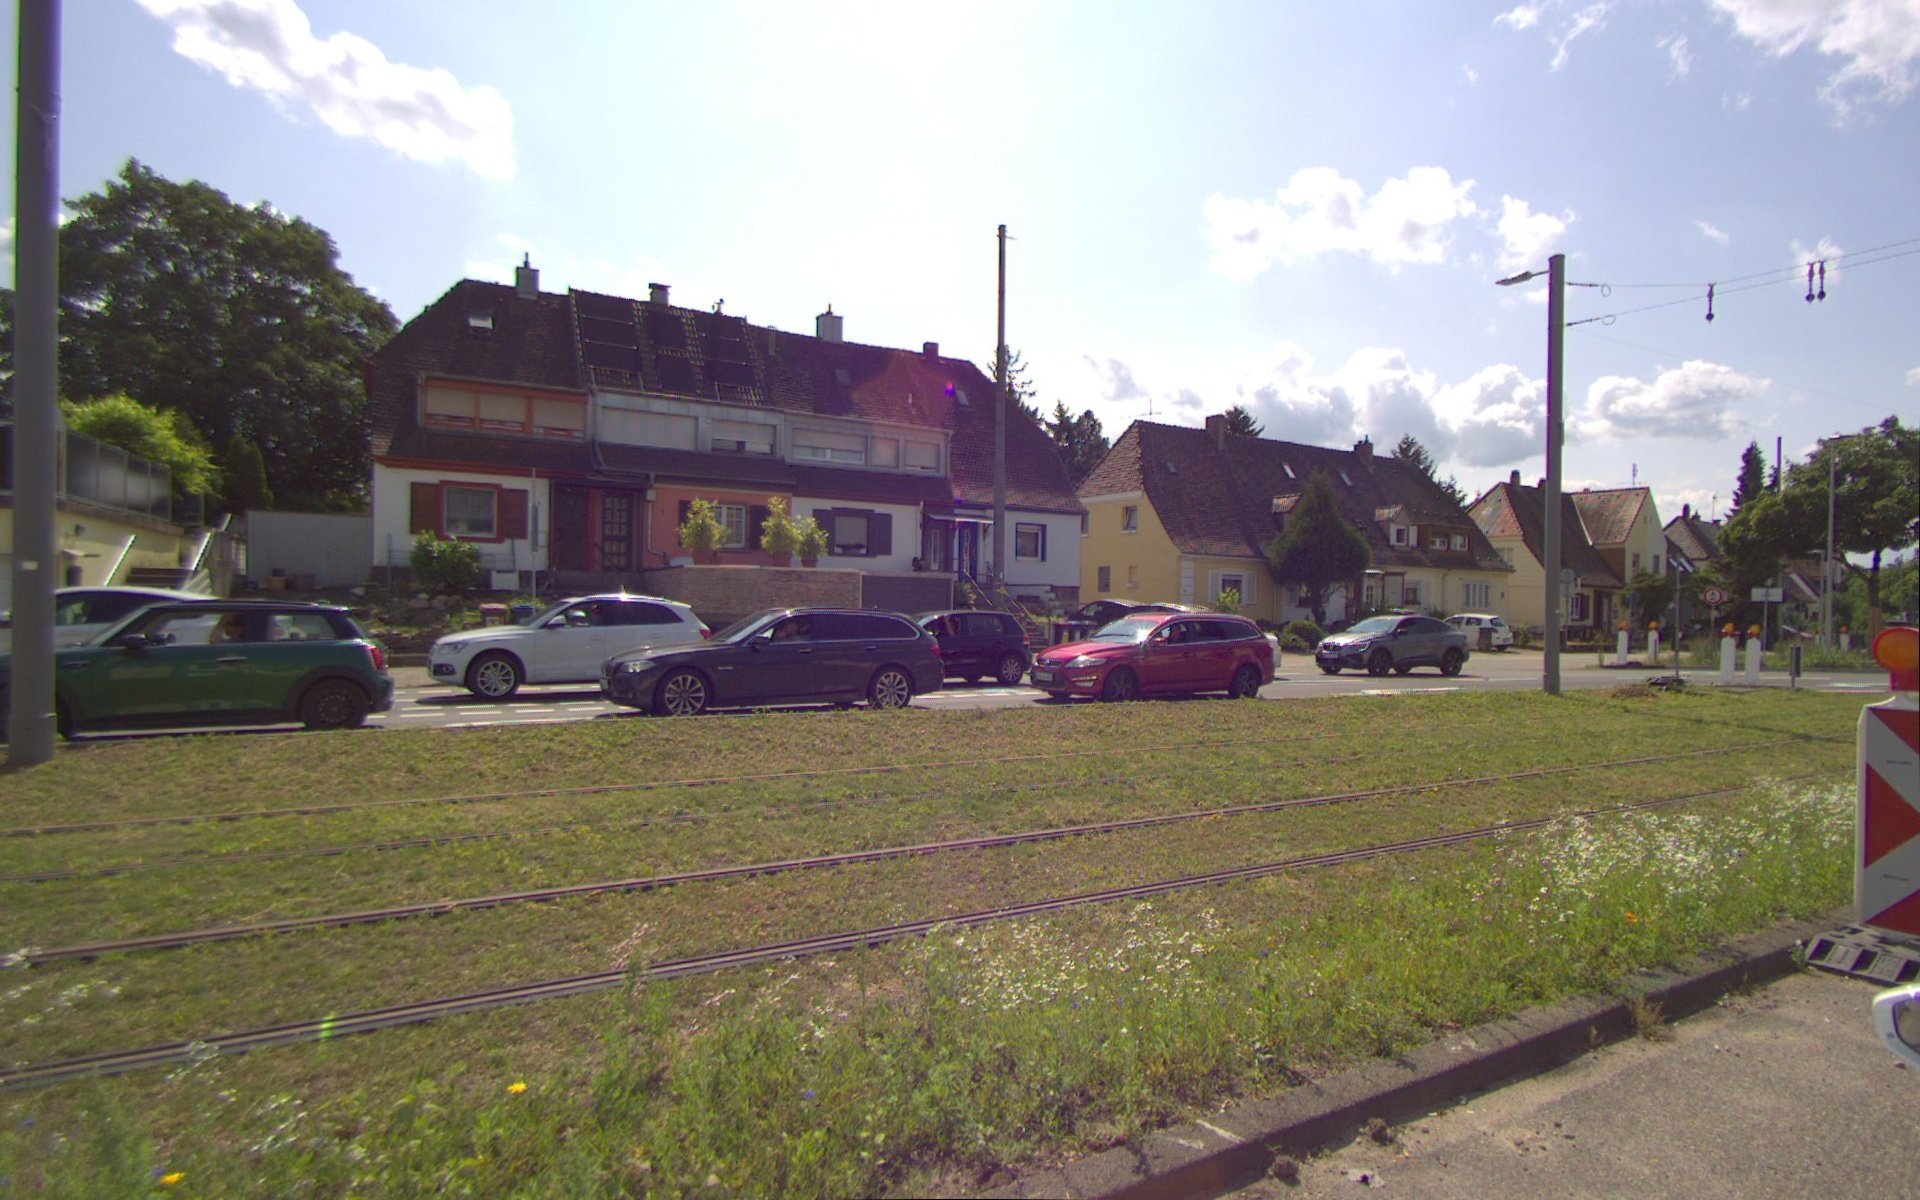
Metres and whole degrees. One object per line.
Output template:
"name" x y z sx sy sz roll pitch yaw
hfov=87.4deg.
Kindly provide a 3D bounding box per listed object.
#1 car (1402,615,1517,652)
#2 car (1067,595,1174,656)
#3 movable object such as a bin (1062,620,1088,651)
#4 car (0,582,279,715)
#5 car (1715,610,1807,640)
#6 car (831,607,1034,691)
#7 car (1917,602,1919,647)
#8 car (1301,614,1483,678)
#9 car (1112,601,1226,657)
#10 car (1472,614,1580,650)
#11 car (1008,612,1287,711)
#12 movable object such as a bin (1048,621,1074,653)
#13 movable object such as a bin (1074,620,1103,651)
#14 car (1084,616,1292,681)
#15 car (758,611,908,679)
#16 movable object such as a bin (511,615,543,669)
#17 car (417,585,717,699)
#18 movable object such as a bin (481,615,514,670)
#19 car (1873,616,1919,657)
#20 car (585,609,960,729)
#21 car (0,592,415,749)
"car" 21.751 1.420 43.895 1.968 1.486 4.087 1 -1 -30
"car" 5.251 0.809 33.256 1.587 1.616 3.365 1 5 -32
"movable object such as a bin" 3.597 1.112 31.446 0.511 0.946 0.677 1 0 -32
"car" -12.115 0.627 13.811 4.385 1.682 1.834 1 -1 -30
"car" 49.985 1.535 62.738 2.079 1.800 4.082 1 -1 -34
"car" -0.534 0.930 19.970 3.613 1.513 1.834 1 -1 -31
"car" 53.387 1.358 54.029 4.842 2.369 2.385 1 -1 -42
"car" 11.496 1.190 26.683 4.675 1.555 1.837 1 -1 -26
"car" 7.314 0.984 35.469 1.587 1.512 3.929 1 5 -32
"car" 25.755 1.433 45.806 1.685 1.417 3.967 0 1 -31
"car" 3.331 1.009 17.525 4.801 1.513 1.834 1 -1 -31
"movable object such as a bin" 3.129 1.140 31.156 0.511 0.946 0.677 1 0 -32
"movable object such as a bin" 4.075 1.126 31.789 0.600 0.946 0.690 1 0 -33
"car" 5.327 1.088 23.273 4.721 1.361 1.835 1 -1 -30
"car" -2.887 1.007 22.906 3.052 1.438 1.558 1 -1 -31
"movable object such as a bin" -9.759 0.941 22.646 0.569 1.212 0.442 1 0 -36
"car" -6.560 0.670 16.934 4.456 1.691 1.833 1 -1 -32
"movable object such as a bin" -10.255 0.930 22.282 0.569 1.200 0.442 1 0 -36
"car" 44.321 1.686 46.909 4.089 1.800 2.076 1 -1 -41
"car" -2.532 0.879 14.096 4.862 1.432 1.833 1 -1 -32
"car" -8.107 0.671 10.692 3.956 1.437 1.904 1 -1 -32
